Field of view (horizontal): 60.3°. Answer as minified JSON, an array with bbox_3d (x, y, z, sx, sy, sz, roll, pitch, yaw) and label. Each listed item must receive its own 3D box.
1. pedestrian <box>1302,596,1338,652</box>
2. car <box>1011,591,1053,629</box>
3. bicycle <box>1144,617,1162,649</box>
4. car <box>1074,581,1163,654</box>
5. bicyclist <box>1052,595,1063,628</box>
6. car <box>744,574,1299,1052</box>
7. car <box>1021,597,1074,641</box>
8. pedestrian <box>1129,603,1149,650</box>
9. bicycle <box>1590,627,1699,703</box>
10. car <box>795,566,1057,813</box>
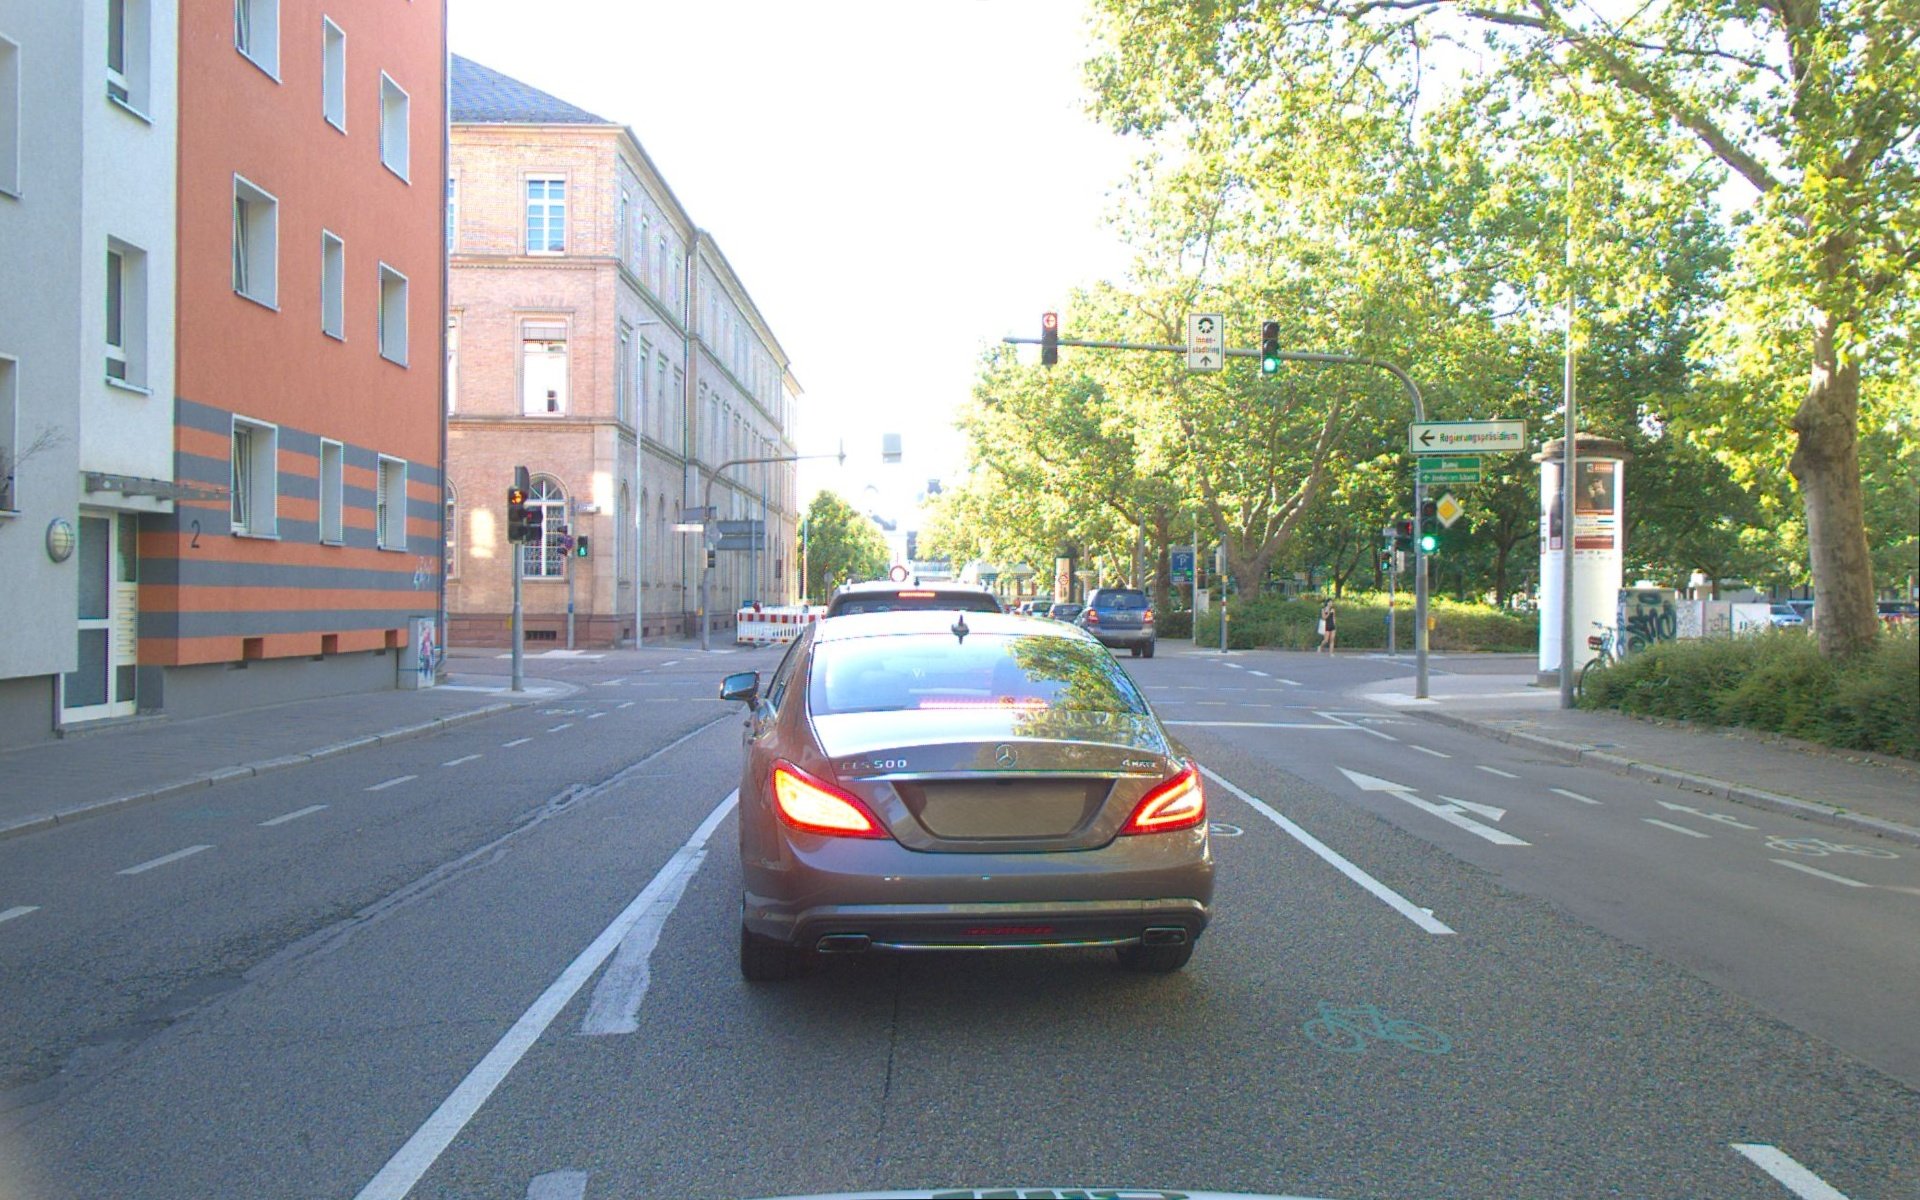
[{"bbox_3d":[10.245,0.668,47.077,0.625,1.572,0.907,1,-1,-15],"label":"pedestrian"},{"bbox_3d":[3.301,0.471,76.276,1.696,1.691,3.680,1,0,-1],"label":"car"},{"bbox_3d":[7.454,1.267,63.802,0.472,1.223,1.606,1,0,-1],"label":"bicycle"},{"bbox_3d":[4.080,0.433,43.239,1.823,1.794,4.481,1,0,-1],"label":"car"},{"bbox_3d":[6.202,0.712,105.197,0.583,2.075,0.565,1,-1,-5],"label":"bicyclist"},{"bbox_3d":[-0.030,0.691,7.469,1.826,1.545,3.993,1,0,-8],"label":"car"},{"bbox_3d":[3.168,0.659,60.745,1.670,1.545,3.999,1,0,-1],"label":"car"},{"bbox_3d":[6.928,1.008,63.897,0.623,1.791,0.698,1,-1,-5],"label":"pedestrian"},{"bbox_3d":[9.876,0.923,23.841,1.868,1.046,0.633,1,-1,-39],"label":"bicycle"},{"bbox_3d":[-0.266,0.621,13.596,1.823,1.712,3.999,1,0,-1],"label":"car"}]
